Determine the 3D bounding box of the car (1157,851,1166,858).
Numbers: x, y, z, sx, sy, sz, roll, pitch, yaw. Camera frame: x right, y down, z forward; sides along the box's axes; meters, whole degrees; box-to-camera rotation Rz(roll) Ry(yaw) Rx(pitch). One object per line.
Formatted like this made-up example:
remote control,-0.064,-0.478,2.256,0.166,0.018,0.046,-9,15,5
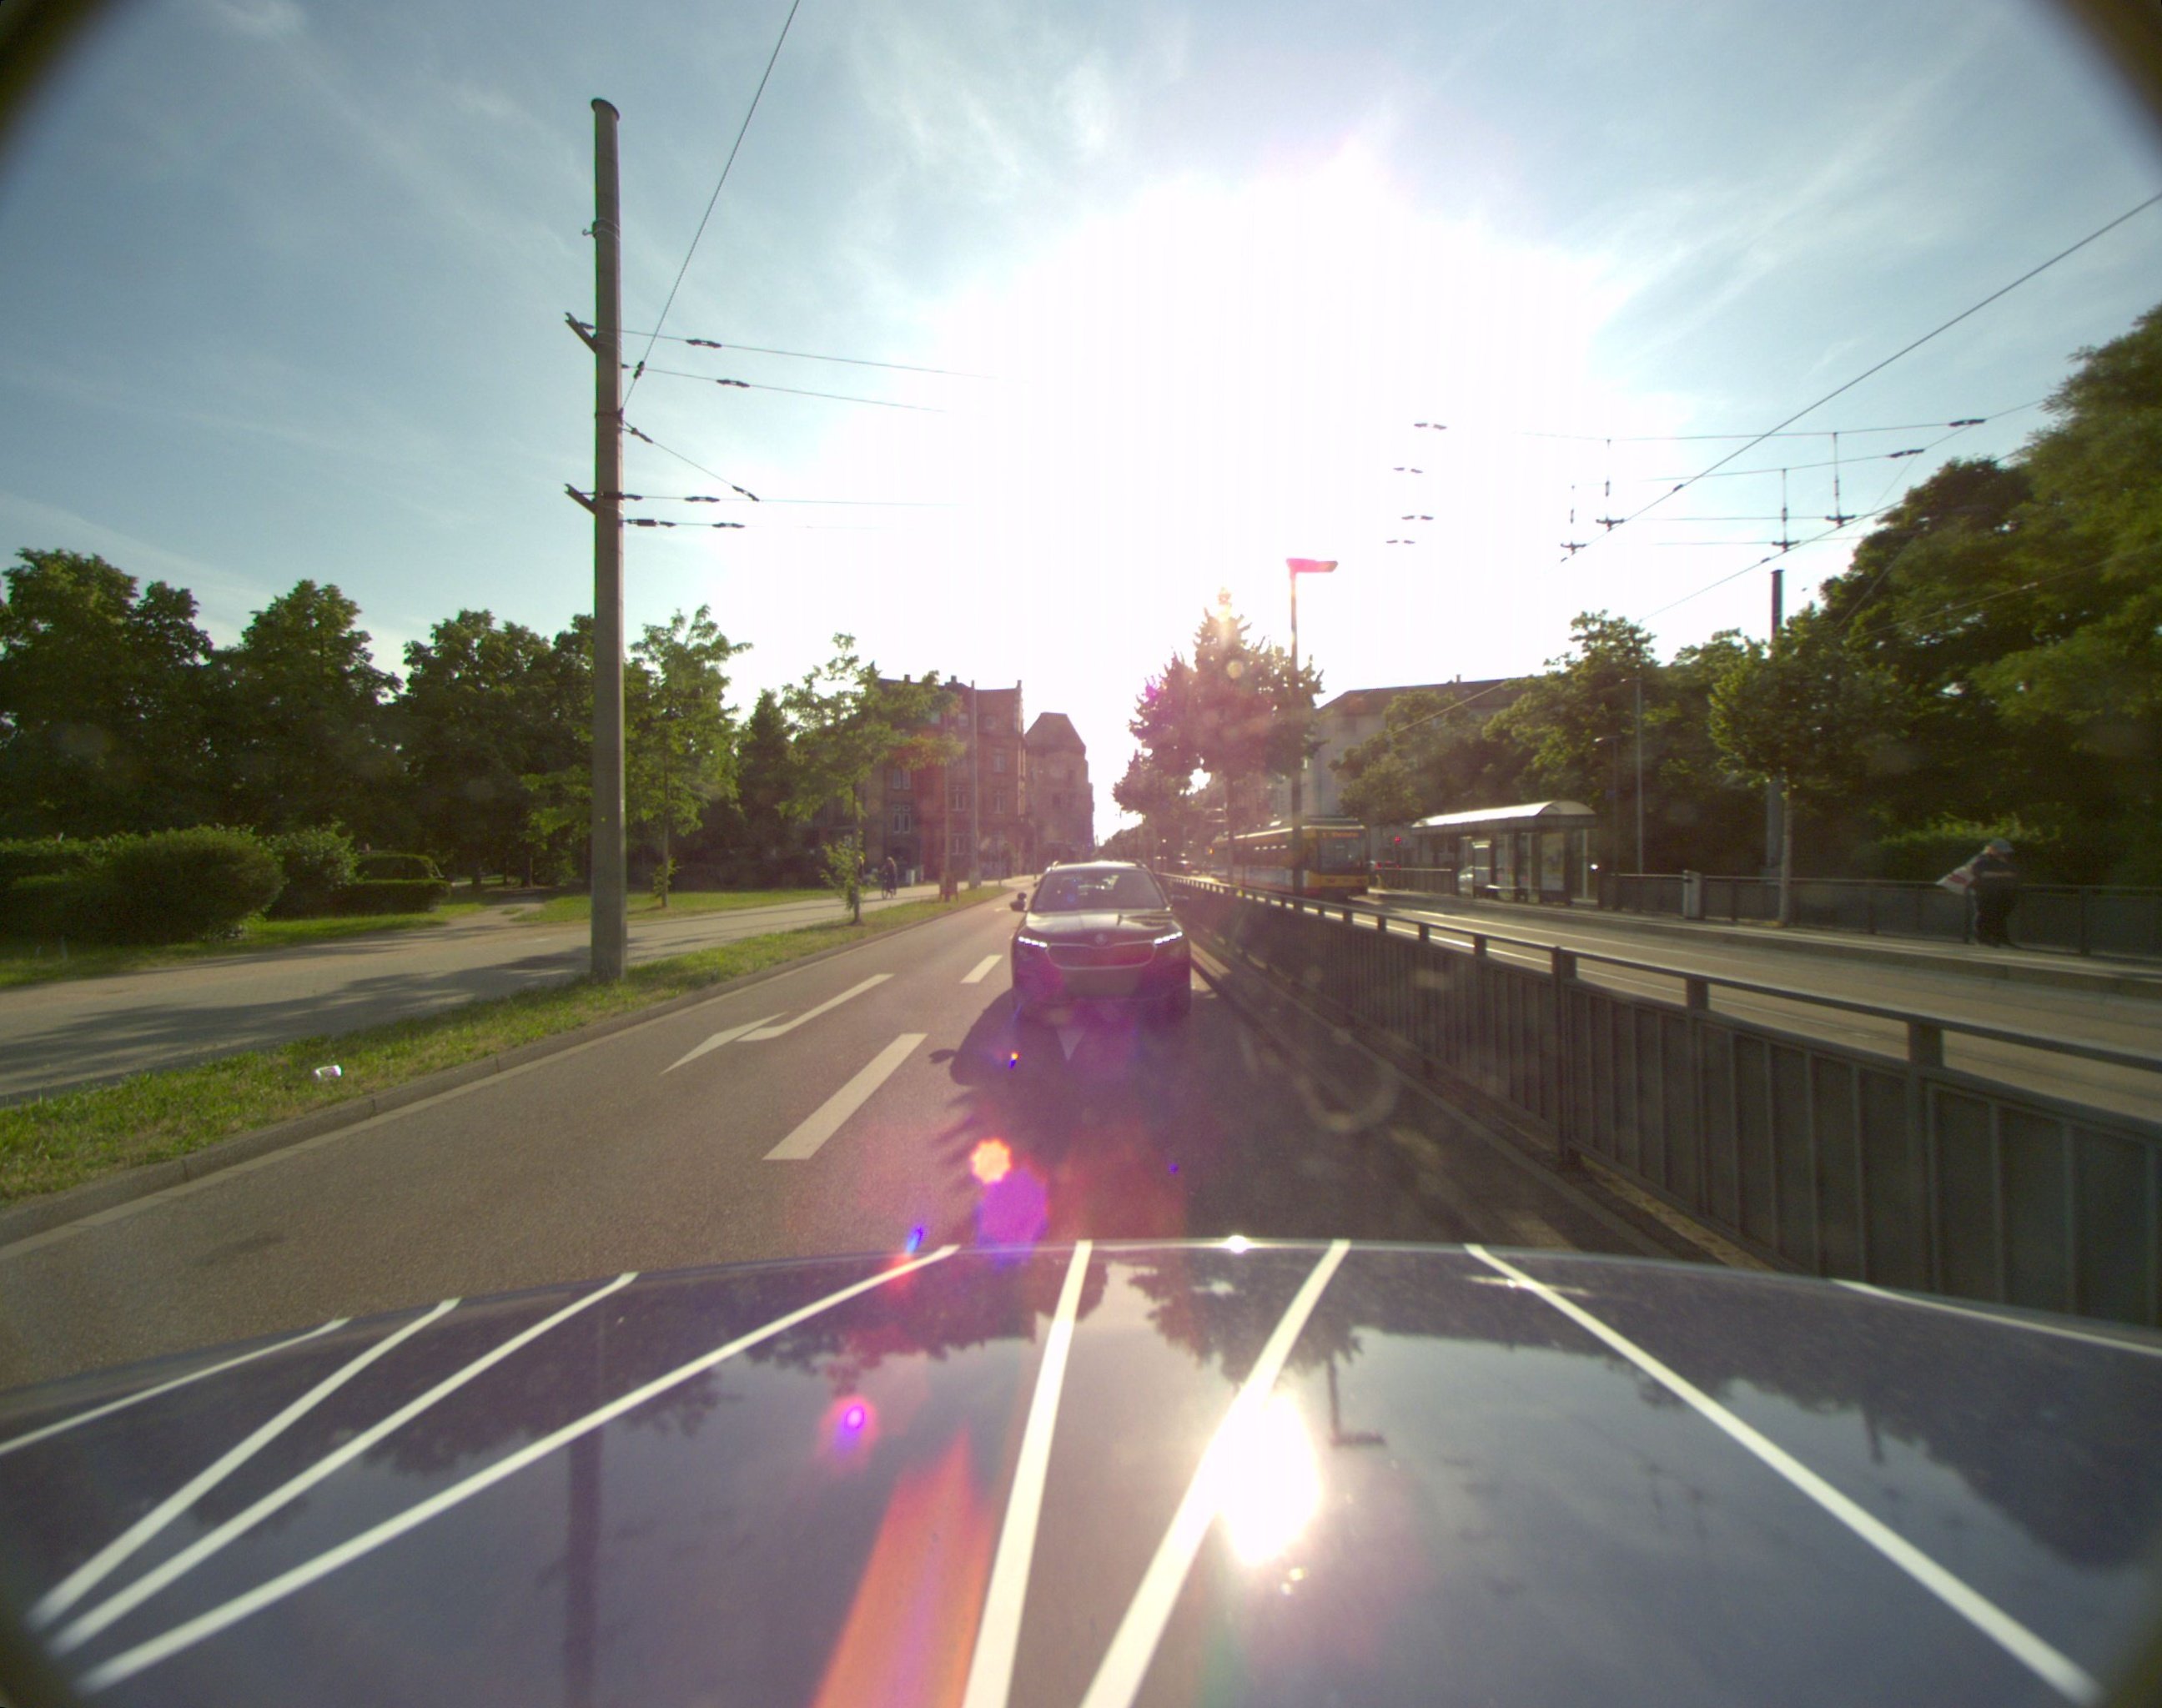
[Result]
car,23.644,0.054,223.161,1.998,2.002,4.000,-1,0,1

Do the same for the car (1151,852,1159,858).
car,23.853,0.416,244.779,1.998,2.002,4.000,-1,0,1

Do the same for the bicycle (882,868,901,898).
bicycle,-7.788,1.180,31.265,0.484,1.183,1.339,-1,0,-2

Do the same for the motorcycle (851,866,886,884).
motorcycle,-13.616,1.345,48.712,2.002,1.153,0.708,-1,0,-4

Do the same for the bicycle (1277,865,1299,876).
bicycle,19.704,1.571,72.313,1.912,1.104,0.736,0,0,22

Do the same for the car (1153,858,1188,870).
car,10.995,1.209,93.149,3.942,1.352,1.676,0,0,38

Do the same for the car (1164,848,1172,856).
car,24.083,-0.505,210.355,1.998,2.002,4.002,-1,0,5

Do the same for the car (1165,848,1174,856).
car,23.177,-0.448,199.176,1.998,2.002,4.002,-1,0,5

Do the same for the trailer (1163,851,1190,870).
trailer,12.068,0.793,96.276,2.858,2.377,1.726,-1,0,33

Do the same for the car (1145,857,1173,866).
car,13.108,1.249,128.322,4.260,1.413,2.177,-2,-1,43

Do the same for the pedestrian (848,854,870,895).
pedestrian,-9.431,0.878,32.328,0.616,1.682,0.549,4,1,5

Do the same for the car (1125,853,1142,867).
car,7.646,0.849,110.883,1.999,2.002,3.999,0,0,-2

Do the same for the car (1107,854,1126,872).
car,3.997,1.006,86.071,1.998,2.002,4.000,0,0,1

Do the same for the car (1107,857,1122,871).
car,4.857,1.379,110.288,1.998,2.002,4.000,0,0,1

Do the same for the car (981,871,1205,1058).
car,0.203,0.947,8.244,1.839,1.472,4.001,0,0,3

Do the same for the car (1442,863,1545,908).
car,16.703,1.238,31.018,1.999,1.674,4.000,-1,0,0

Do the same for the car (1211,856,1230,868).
car,19.885,1.145,108.370,2.170,1.739,4.612,-1,0,3

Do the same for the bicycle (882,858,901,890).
bicycle,-7.793,0.812,31.276,0.575,1.290,0.688,-1,0,-2

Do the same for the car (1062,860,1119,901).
car,0.460,1.064,31.667,1.997,1.564,4.002,-1,0,6

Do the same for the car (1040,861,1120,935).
car,0.000,1.136,21.179,1.998,1.827,4.000,-1,0,1

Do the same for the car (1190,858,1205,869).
car,20.599,1.634,134.801,2.170,1.890,4.612,-1,0,3

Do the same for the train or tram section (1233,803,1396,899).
train or tram section,10.066,-0.056,35.269,3.169,3.458,14.473,-1,0,1

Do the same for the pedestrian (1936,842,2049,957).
pedestrian,13.598,0.651,11.357,0.666,1.632,0.863,-1,0,-15

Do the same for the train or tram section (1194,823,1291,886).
train or tram section,10.093,0.070,49.776,3.170,3.458,14.532,-1,0,0

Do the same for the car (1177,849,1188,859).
car,22.517,0.034,168.312,1.998,2.002,4.001,-1,0,2

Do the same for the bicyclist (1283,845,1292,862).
bicyclist,19.642,-0.020,72.308,0.772,1.632,0.796,0,0,21
